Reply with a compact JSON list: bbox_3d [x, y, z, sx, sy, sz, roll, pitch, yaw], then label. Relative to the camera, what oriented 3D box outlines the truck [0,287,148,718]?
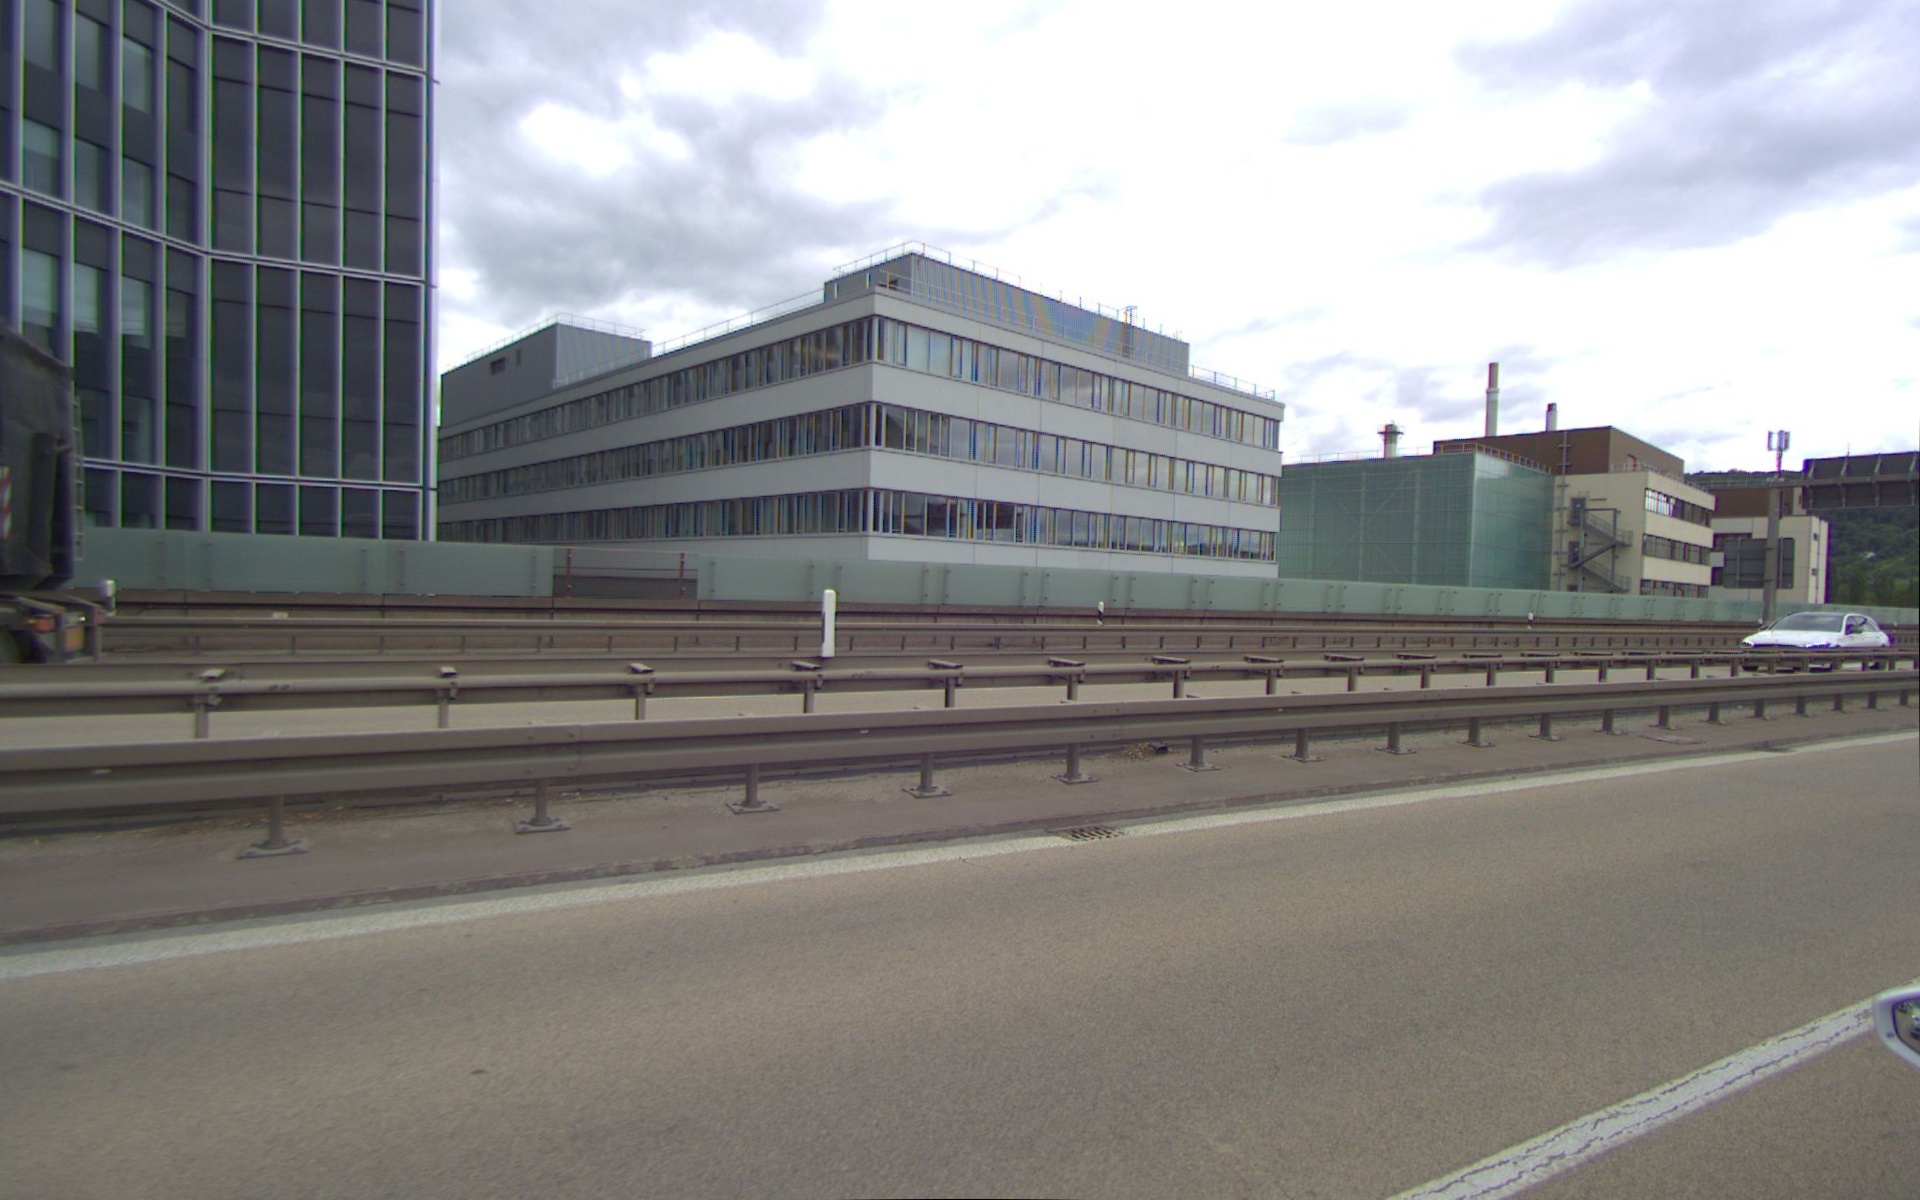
[{"bbox_3d":[-13.234,-1.041,9.128,8.556,4.119,3.044,2,0,-29],"label":"truck"}]

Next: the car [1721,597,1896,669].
[{"bbox_3d":[21.091,0.813,24.913,4.755,1.627,1.982,2,-1,-32],"label":"car"}]
